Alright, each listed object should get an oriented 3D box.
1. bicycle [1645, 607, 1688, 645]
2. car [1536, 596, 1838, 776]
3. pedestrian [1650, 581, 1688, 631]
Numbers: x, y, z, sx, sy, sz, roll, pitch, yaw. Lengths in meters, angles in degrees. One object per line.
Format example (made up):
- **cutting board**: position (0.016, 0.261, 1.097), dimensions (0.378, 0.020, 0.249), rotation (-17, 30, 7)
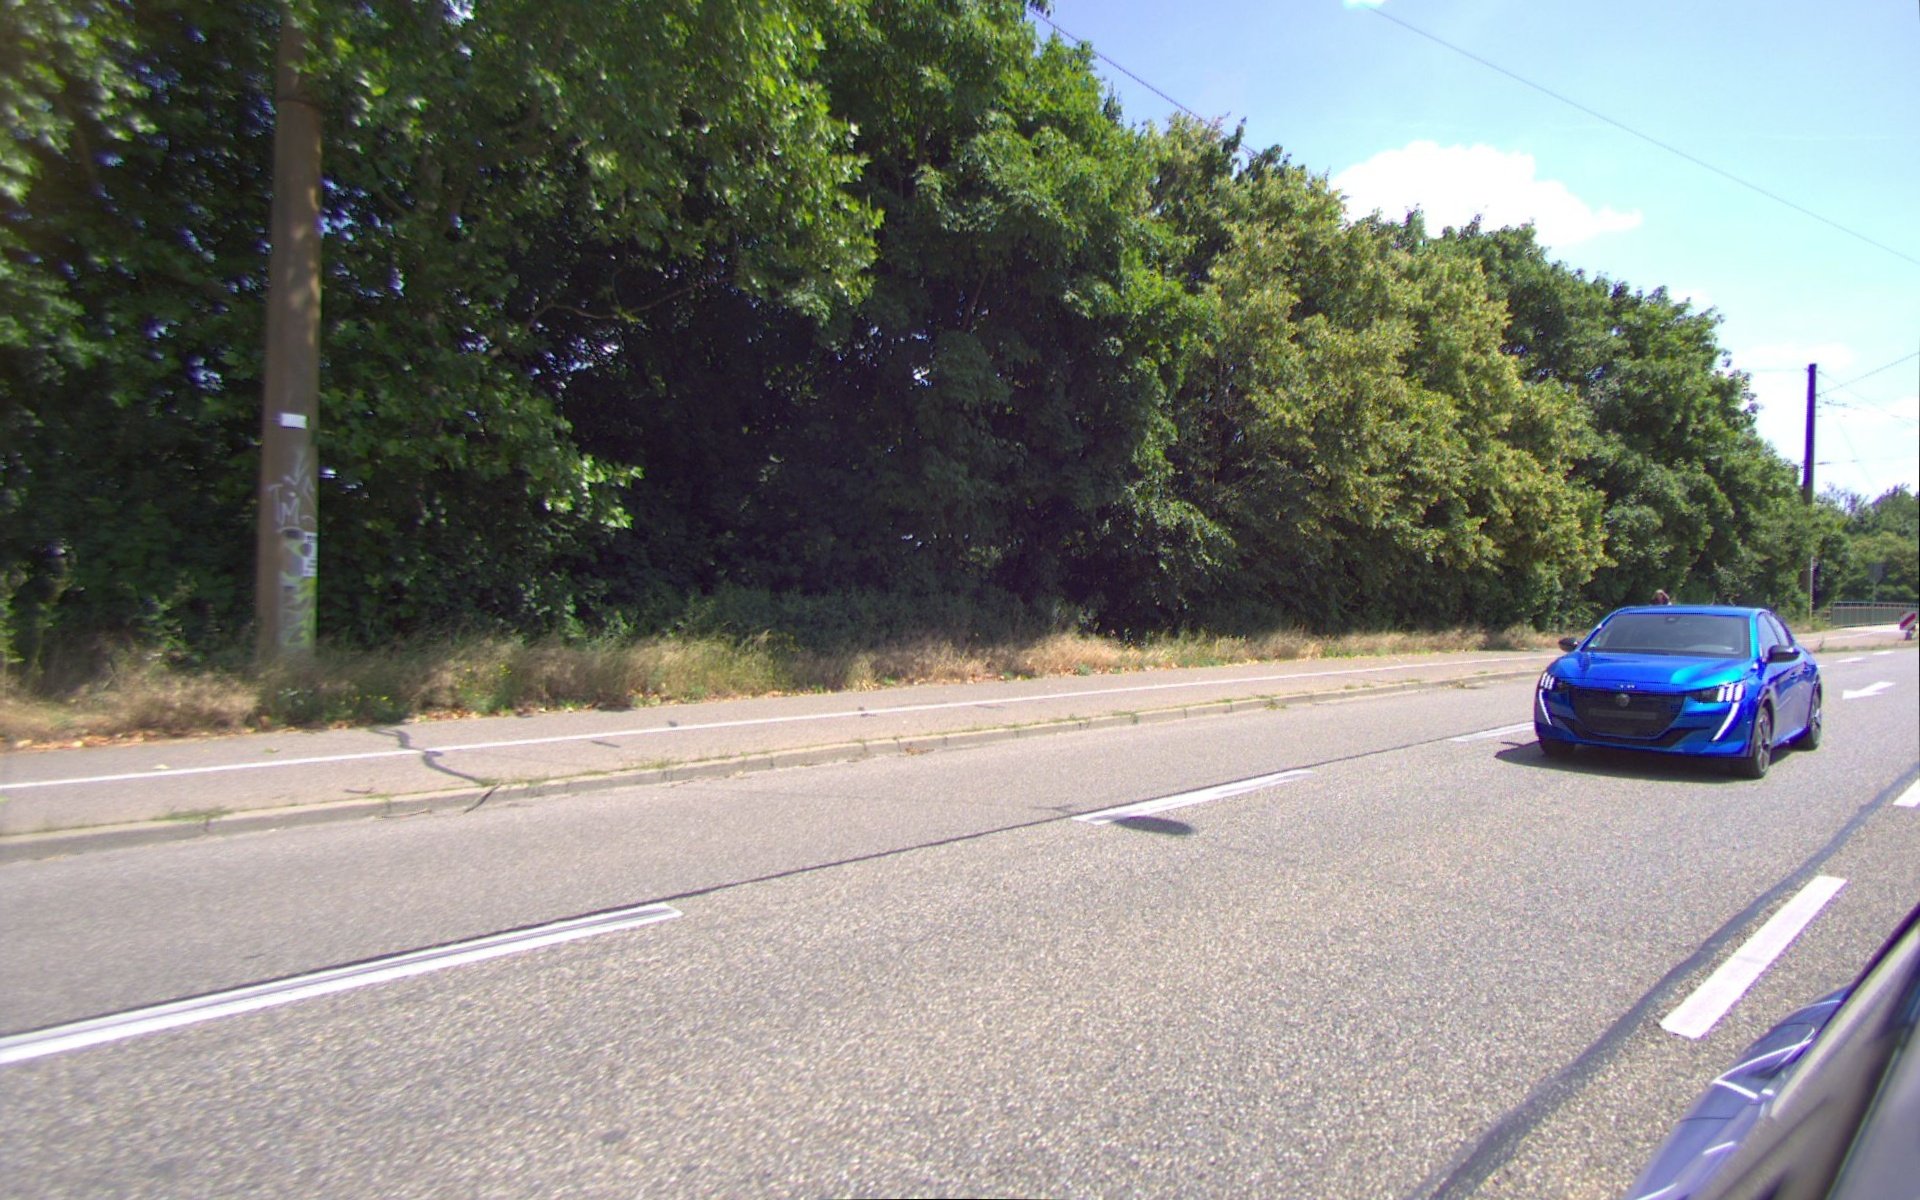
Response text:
- **bicycle**: position (20.177, 0.724, 28.889), dimensions (1.815, 1.037, 0.561), rotation (0, 2, -41)
- **car**: position (7.177, 0.678, 9.863), dimensions (3.679, 1.423, 1.658), rotation (0, 0, -42)
- **pedestrian**: position (20.290, 0.168, 28.970), dimensions (1.032, 1.391, 0.629), rotation (0, 1, -40)
